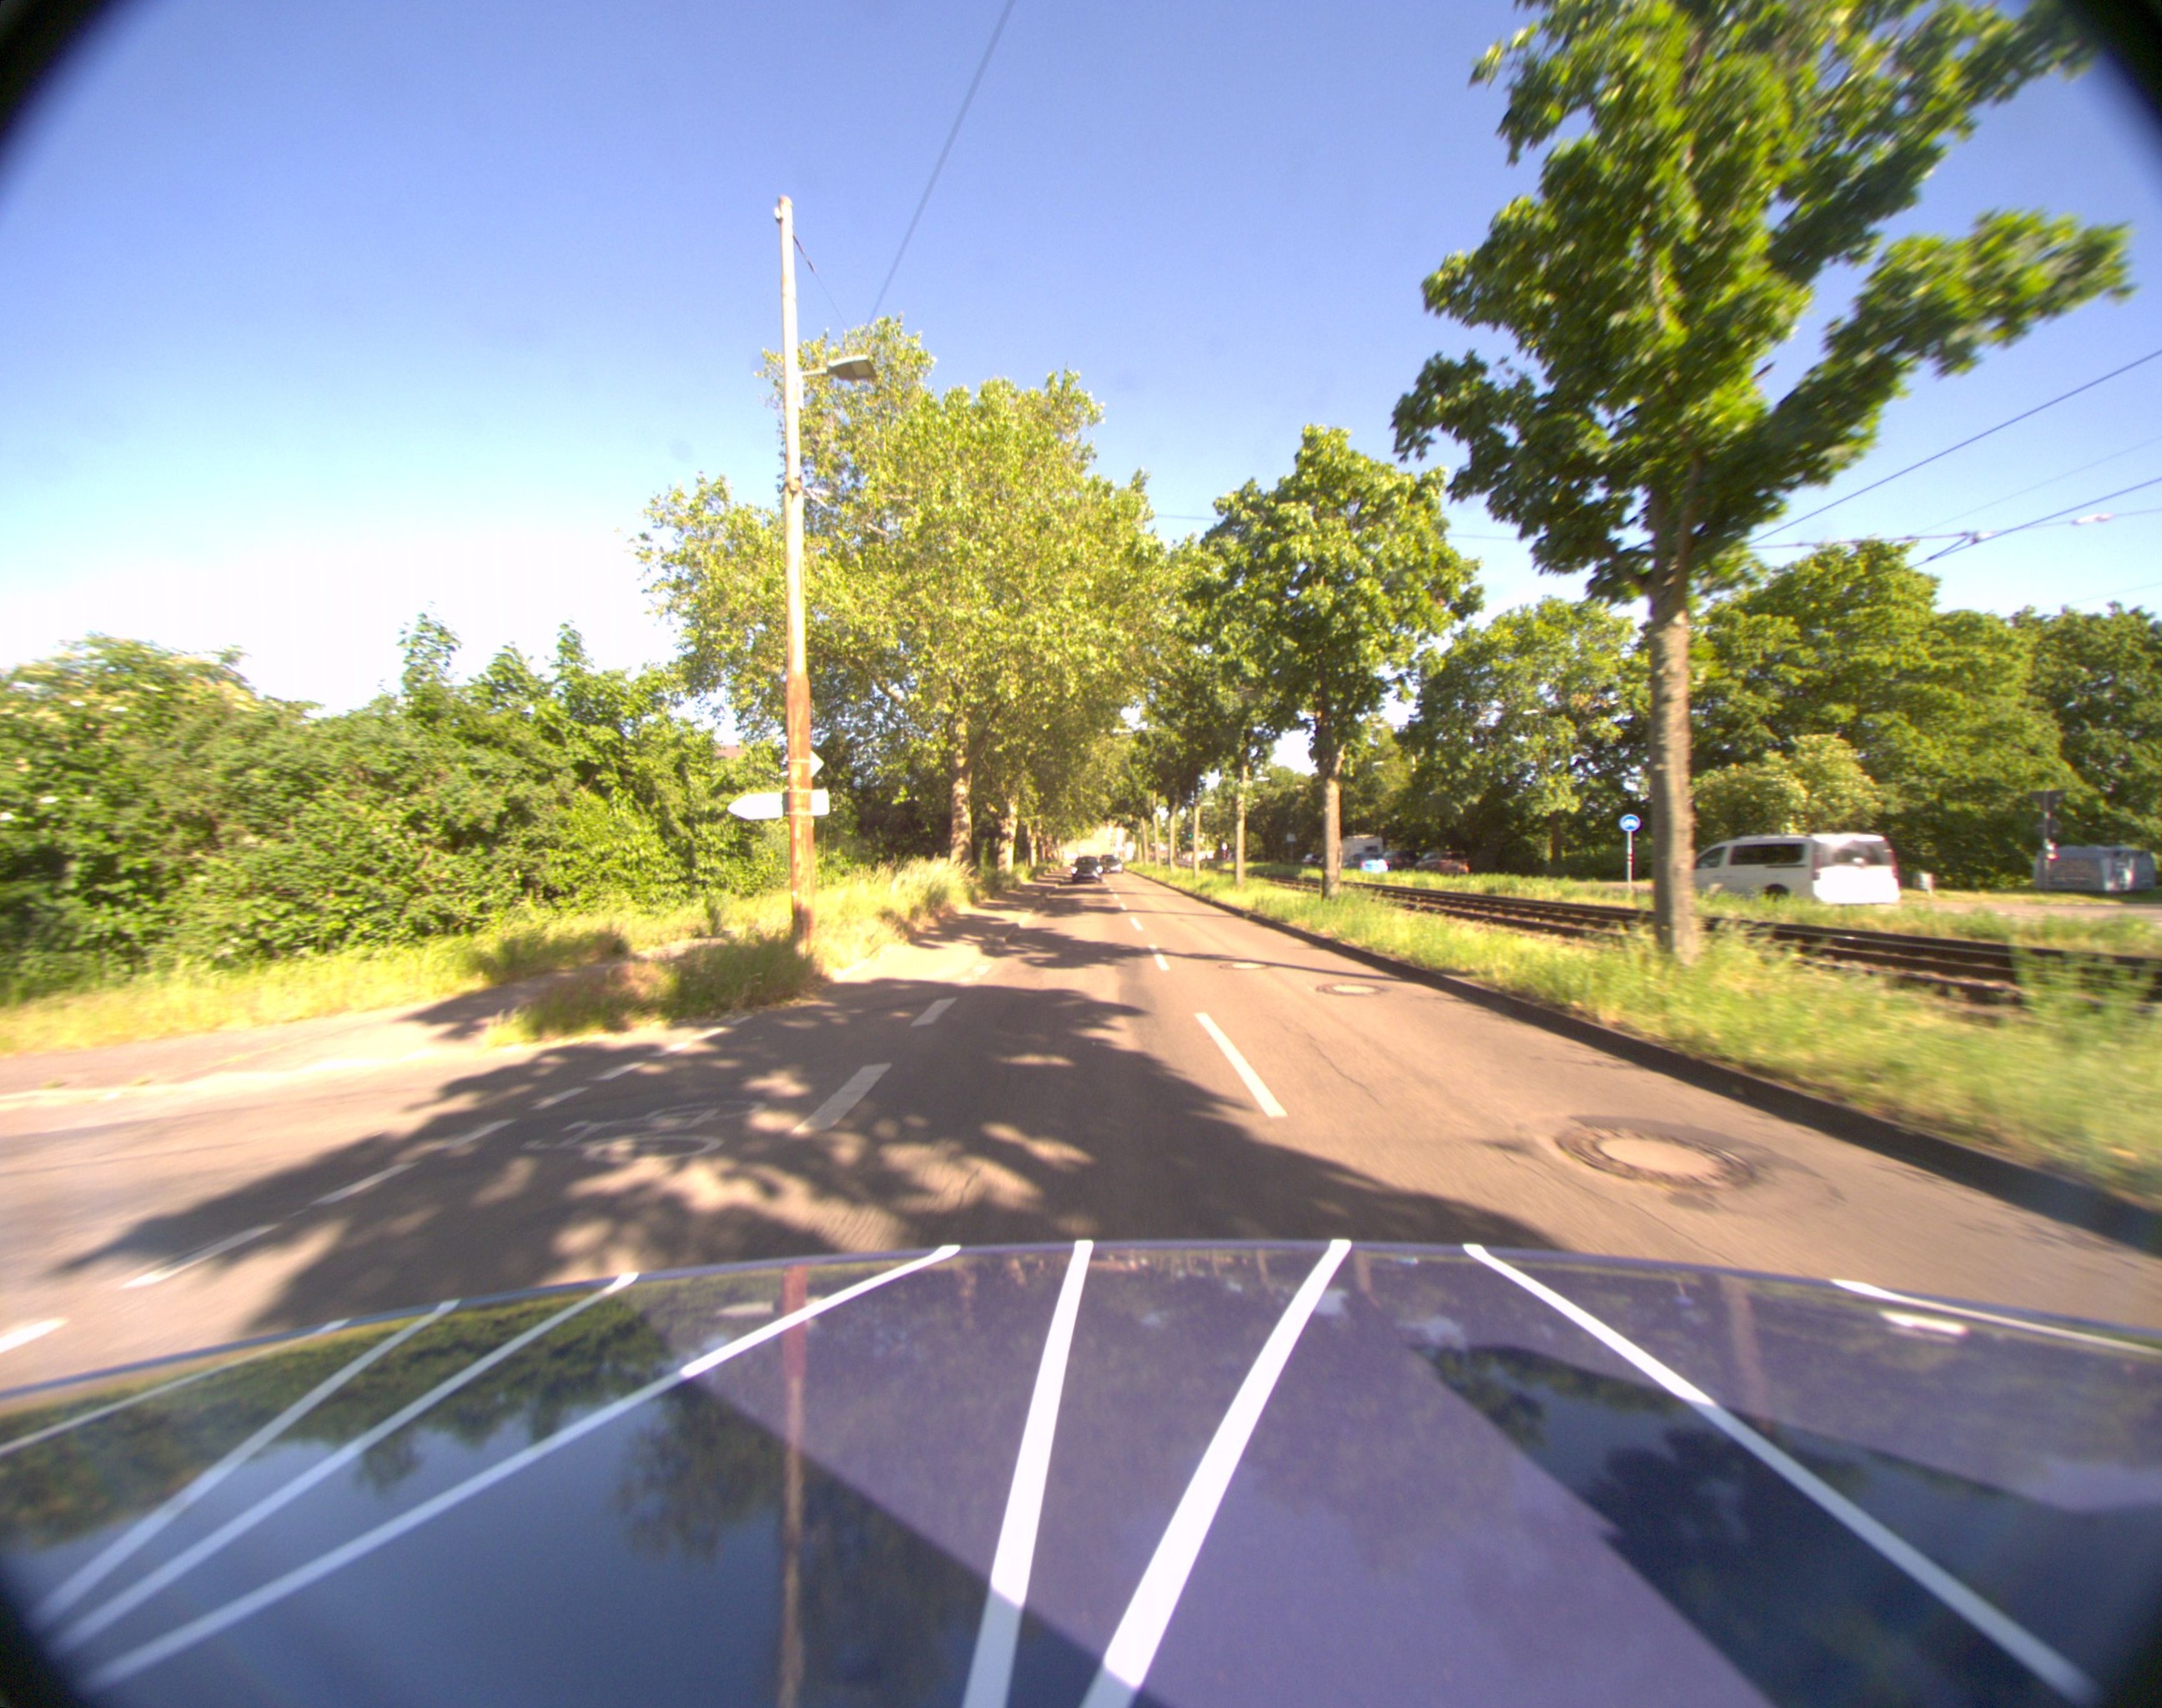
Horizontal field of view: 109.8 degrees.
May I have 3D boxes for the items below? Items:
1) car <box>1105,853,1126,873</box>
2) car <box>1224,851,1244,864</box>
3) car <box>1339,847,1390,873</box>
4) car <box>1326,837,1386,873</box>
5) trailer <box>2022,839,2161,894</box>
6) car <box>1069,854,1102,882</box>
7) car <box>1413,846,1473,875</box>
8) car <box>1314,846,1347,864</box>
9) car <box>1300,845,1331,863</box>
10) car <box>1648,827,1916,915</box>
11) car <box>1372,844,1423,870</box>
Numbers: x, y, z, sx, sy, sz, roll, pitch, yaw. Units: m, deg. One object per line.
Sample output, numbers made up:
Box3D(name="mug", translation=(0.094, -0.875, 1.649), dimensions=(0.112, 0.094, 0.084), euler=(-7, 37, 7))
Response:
Box3D(name="car", translation=(2.946, 0.746, 65.474), dimensions=(1.714, 1.478, 3.546), euler=(-3, 1, 1))
Box3D(name="car", translation=(19.339, 0.396, 96.159), dimensions=(1.731, 1.519, 4.441), euler=(-3, 1, 1))
Box3D(name="car", translation=(16.712, 0.306, 45.013), dimensions=(1.561, 1.387, 3.820), euler=(-3, 1, 0))
Box3D(name="car", translation=(21.710, 0.056, 60.332), dimensions=(2.231, 2.565, 6.798), euler=(-3, 0, 1))
Box3D(name="trailer", translation=(32.417, 0.375, 24.278), dimensions=(3.762, 1.496, 1.751), euler=(-3, 1, -19))
Box3D(name="car", translation=(0.267, 0.821, 45.515), dimensions=(1.808, 1.478, 3.546), euler=(-3, 1, 0))
Box3D(name="car", translation=(21.620, 0.347, 45.522), dimensions=(1.678, 1.575, 4.248), euler=(-3, 1, 2))
Box3D(name="car", translation=(22.128, 0.053, 67.468), dimensions=(1.715, 1.426, 4.000), euler=(-3, 1, 2))
Box3D(name="car", translation=(22.287, -0.024, 72.284), dimensions=(1.772, 1.554, 4.282), euler=(-2, 1, 3))
Box3D(name="car", translation=(16.326, 0.321, 18.171), dimensions=(1.815, 1.734, 4.981), euler=(-3, 1, 1))
Box3D(name="car", translation=(21.911, 0.163, 52.819), dimensions=(1.626, 1.613, 4.532), euler=(-3, 1, 0))
